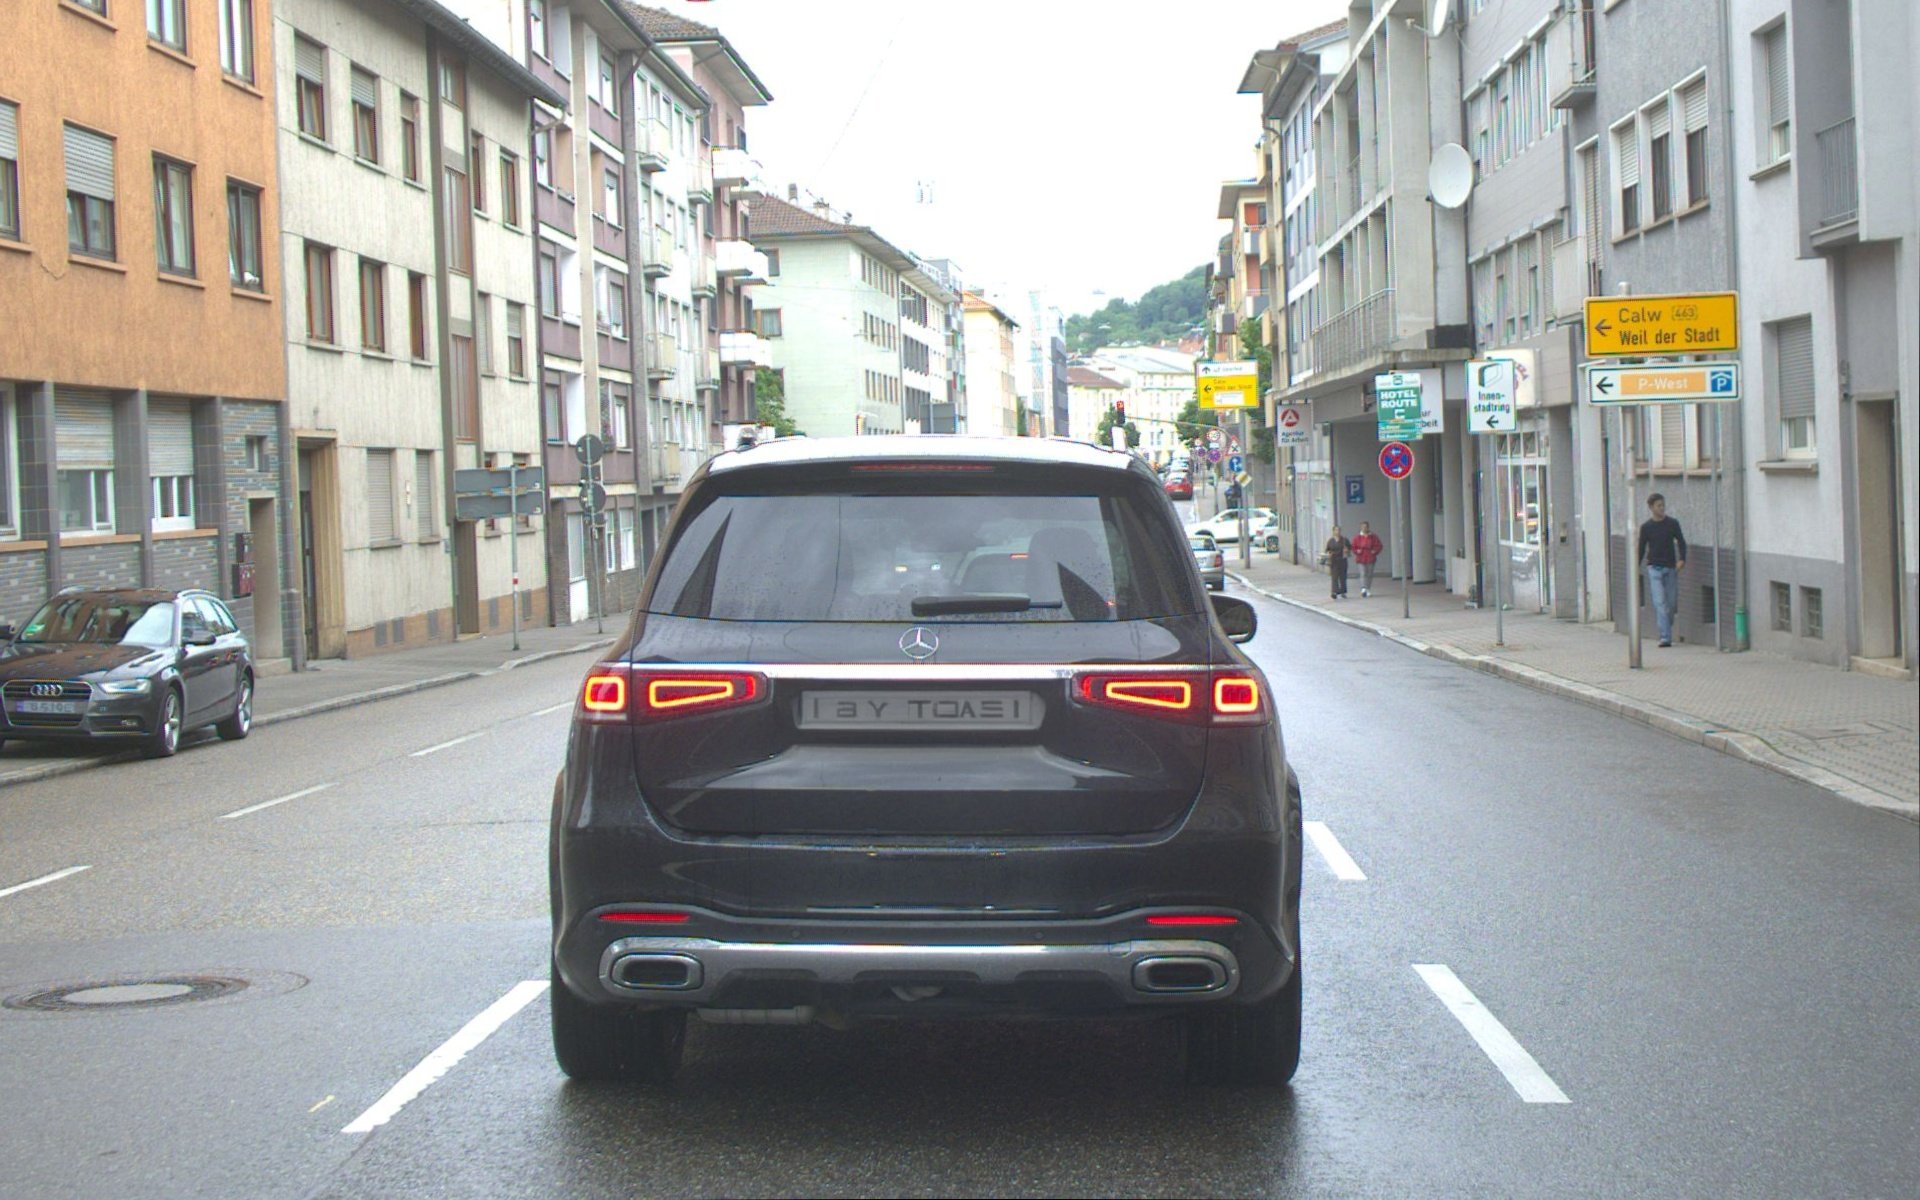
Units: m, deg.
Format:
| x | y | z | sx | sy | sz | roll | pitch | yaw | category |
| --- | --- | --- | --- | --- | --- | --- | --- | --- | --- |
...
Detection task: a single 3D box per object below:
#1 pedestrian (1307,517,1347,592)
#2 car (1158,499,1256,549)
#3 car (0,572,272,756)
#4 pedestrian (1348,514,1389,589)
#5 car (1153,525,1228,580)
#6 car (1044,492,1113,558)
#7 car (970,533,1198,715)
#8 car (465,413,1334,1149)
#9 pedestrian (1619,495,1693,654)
| x | y | z | sx | sy | sz | roll | pitch | yaw | category |
| --- | --- | --- | --- | --- | --- | --- | --- | --- | --- |
| 7.739 | -0.973 | 72.521 | 0.821 | 1.560 | 0.899 | 0 | 2 | 5 | pedestrian |
| 10.231 | -3.140 | 142.065 | 3.987 | 2.006 | 2.000 | 0 | 2 | 5 | car |
| -7.708 | 0.531 | 31.440 | 1.891 | 1.453 | 4.550 | -1 | 2 | 0 | car |
| 8.604 | -1.032 | 72.417 | 0.821 | 1.560 | 0.899 | 0 | 2 | 5 | pedestrian |
| 6.073 | -1.278 | 91.012 | 1.734 | 1.383 | 4.583 | 0 | 2 | 1 | car |
| 3.699 | -2.337 | 106.851 | 1.994 | 2.006 | 4.000 | 0 | 2 | 4 | car |
| 1.074 | 0.165 | 31.674 | 1.893 | 1.505 | 4.174 | 0 | 2 | -1 | car |
| -0.117 | 0.363 | 10.578 | 2.076 | 1.759 | 4.611 | 0 | 2 | 1 | car |
| 7.881 | -0.301 | 38.940 | 0.655 | 1.746 | 0.741 | -4 | 1 | 7 | pedestrian |
